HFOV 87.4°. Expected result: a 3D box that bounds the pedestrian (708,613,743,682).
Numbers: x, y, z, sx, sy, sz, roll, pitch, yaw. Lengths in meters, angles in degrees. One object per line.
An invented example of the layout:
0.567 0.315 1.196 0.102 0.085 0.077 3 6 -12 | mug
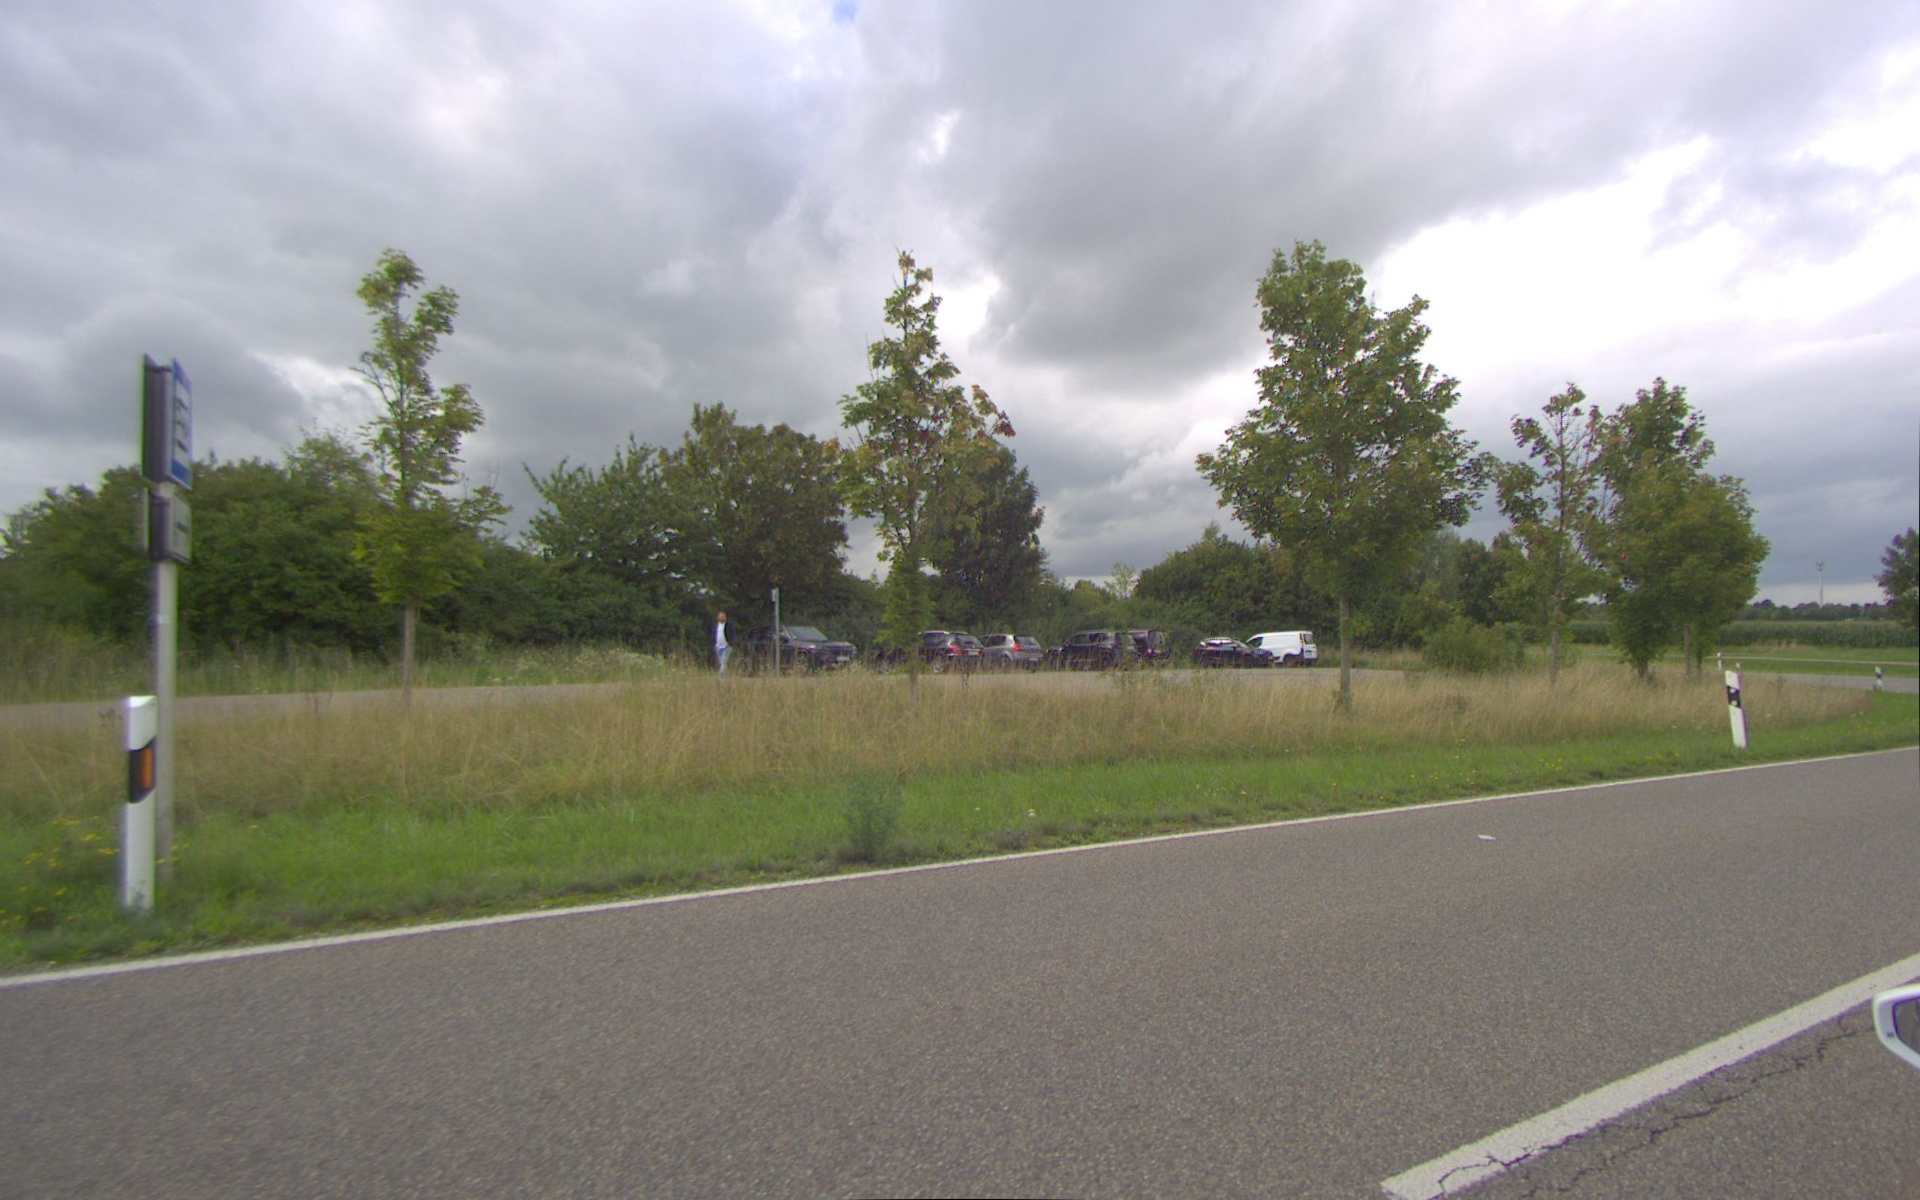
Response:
-5.800 1.166 24.852 0.656 1.689 0.510 1 -1 -41 | pedestrian

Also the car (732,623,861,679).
-5.094 1.514 31.023 4.195 1.587 1.748 -1 -2 43 | car

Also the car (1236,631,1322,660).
16.384 2.319 51.672 3.940 1.398 1.469 -1 -2 40 | car

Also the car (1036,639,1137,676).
5.258 2.373 41.905 3.933 1.398 1.471 -1 -2 35 | car

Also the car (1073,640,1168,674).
7.061 2.482 44.375 3.935 1.398 1.471 -1 -2 36 | car

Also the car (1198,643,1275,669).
13.752 2.788 50.121 1.323 1.182 3.572 2 -2 -43 | car

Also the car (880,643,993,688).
-0.872 2.273 35.592 1.812 1.398 3.948 2 -2 -44 | car

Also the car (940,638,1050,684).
1.289 2.287 38.271 1.745 1.587 4.201 2 -2 -43 | car
